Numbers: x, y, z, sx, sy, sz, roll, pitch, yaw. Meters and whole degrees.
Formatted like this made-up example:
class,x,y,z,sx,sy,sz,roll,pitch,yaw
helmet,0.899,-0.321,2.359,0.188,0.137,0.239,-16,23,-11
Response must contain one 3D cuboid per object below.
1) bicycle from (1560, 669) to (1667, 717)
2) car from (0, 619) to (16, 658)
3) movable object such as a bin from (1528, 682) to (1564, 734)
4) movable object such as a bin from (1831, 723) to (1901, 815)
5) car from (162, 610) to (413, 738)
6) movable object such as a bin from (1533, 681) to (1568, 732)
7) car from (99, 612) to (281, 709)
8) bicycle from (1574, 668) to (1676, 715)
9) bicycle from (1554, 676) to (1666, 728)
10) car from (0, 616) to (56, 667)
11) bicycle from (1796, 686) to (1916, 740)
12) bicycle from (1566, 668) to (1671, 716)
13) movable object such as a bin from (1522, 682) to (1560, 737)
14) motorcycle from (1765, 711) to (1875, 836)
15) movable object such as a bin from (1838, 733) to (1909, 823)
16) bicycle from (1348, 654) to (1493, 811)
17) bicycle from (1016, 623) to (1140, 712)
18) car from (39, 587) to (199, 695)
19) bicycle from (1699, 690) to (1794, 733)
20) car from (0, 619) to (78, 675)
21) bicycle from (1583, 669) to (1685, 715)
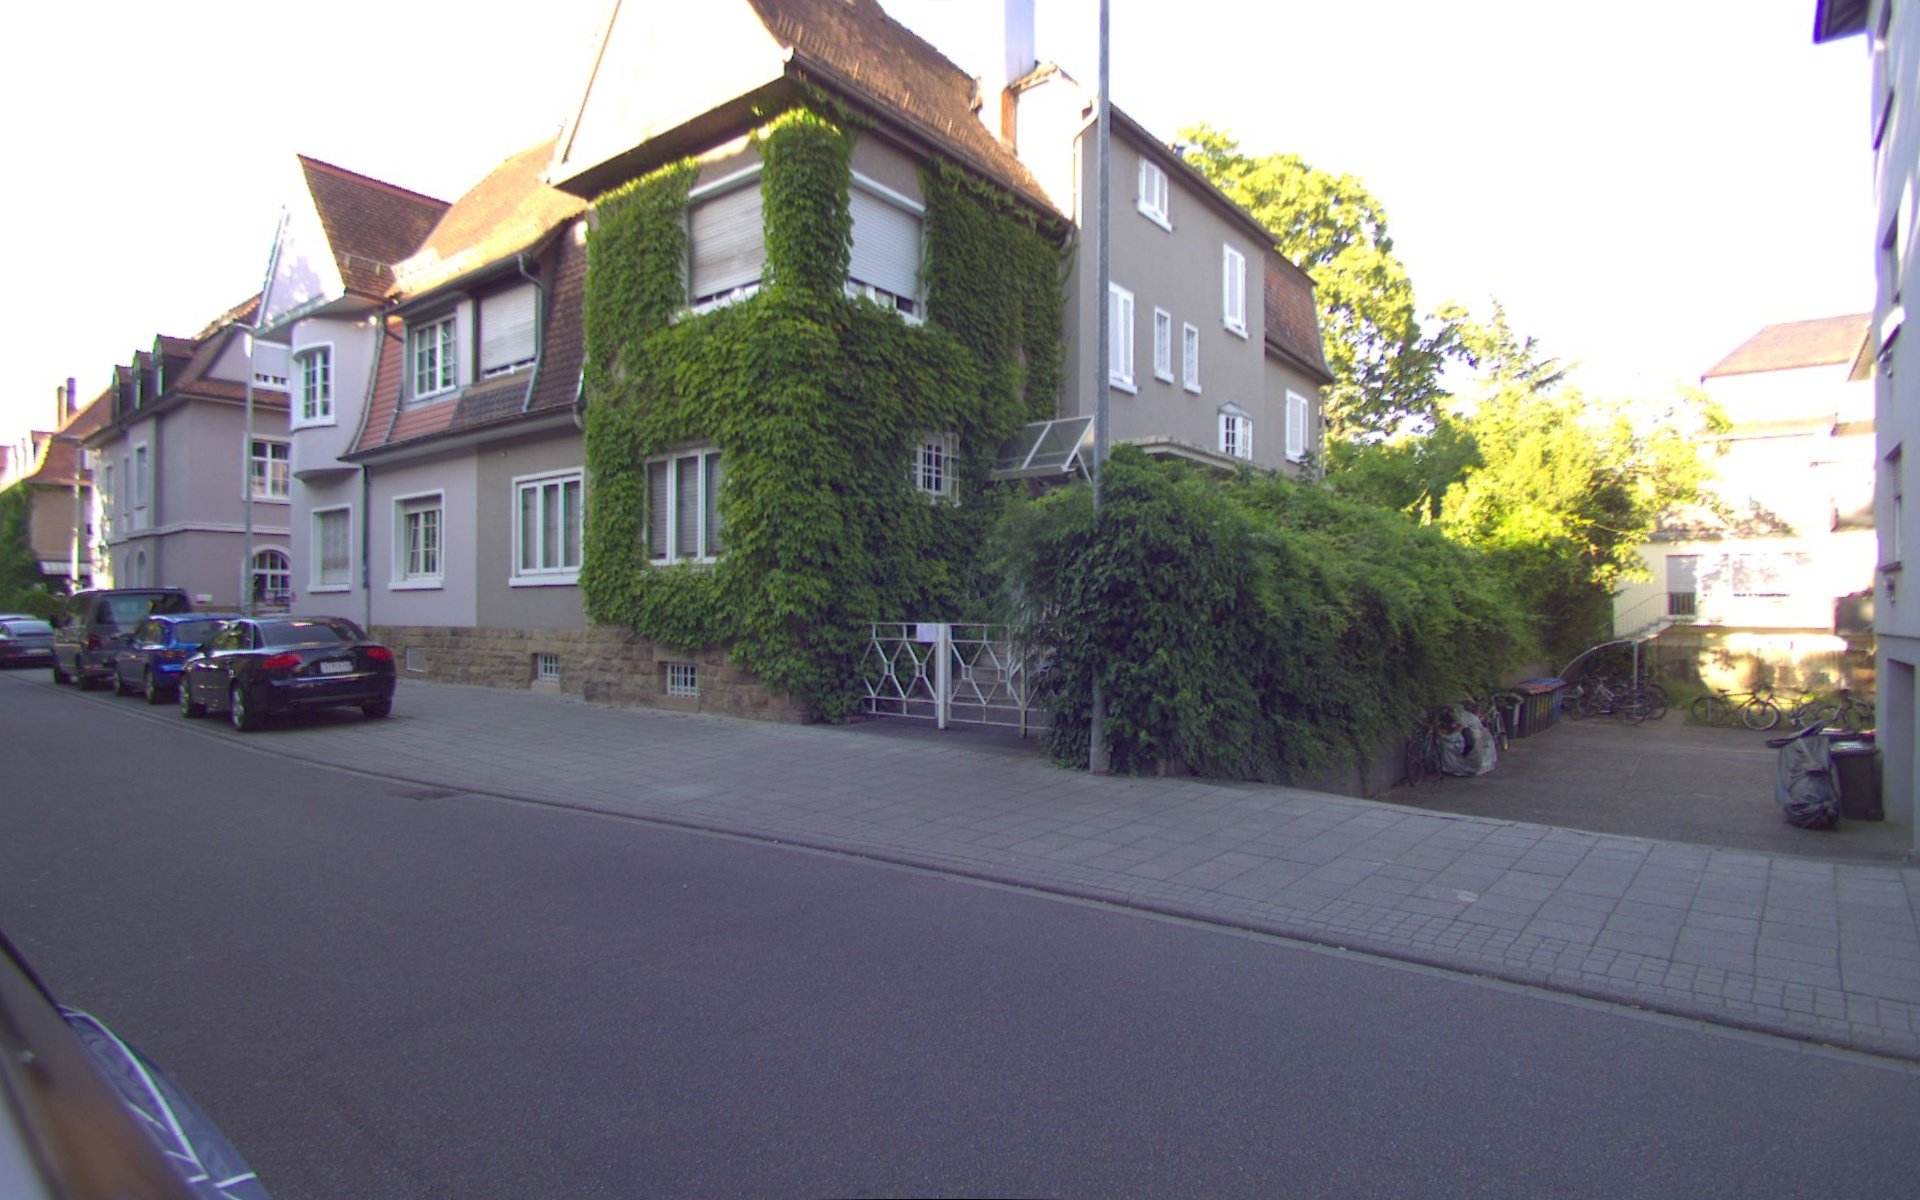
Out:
class,x,y,z,sx,sy,sz,roll,pitch,yaw
bicycle,17.491,2.475,27.128,2.338,1.142,0.685,-1,-4,42
car,-36.341,1.440,37.517,3.676,1.372,1.641,-1,1,42
movable object such as a bin,13.163,2.413,22.729,0.611,1.123,0.792,-1,-4,37
movable object such as a bin,12.284,2.273,13.740,0.611,1.123,0.792,-1,-4,37
car,-9.439,0.909,14.061,4.426,1.457,1.783,-1,1,41
movable object such as a bin,13.633,2.446,23.360,0.611,1.123,0.792,-1,-4,37
car,-13.652,0.980,17.856,4.060,1.457,1.745,-1,1,41
bicycle,18.601,2.550,28.348,2.338,1.186,0.685,-1,-4,42
bicycle,16.225,2.520,25.315,2.294,1.142,0.685,-1,-4,42
car,-30.189,1.295,32.040,4.061,1.478,1.907,-1,1,42
bicycle,20.355,2.538,23.039,2.005,1.080,0.558,-1,-4,42
bicycle,18.042,2.502,27.780,2.338,1.186,0.685,-1,-4,42
movable object such as a bin,12.687,2.377,22.086,0.611,1.123,0.792,-1,-4,37
motorcycle,10.693,2.112,12.637,0.742,1.305,1.565,-1,-2,30
movable object such as a bin,11.702,2.268,12.979,0.611,1.045,0.532,-1,-4,37
bicycle,6.809,1.781,14.765,0.971,1.907,4.138,-1,-3,38
bicycle,1.687,0.907,14.198,0.476,1.111,2.172,-1,-1,45
car,-17.540,0.786,21.026,4.610,1.990,1.819,-1,1,41
bicycle,18.878,2.663,24.314,1.754,0.886,0.558,-1,-4,42
car,-26.175,1.265,28.307,4.063,1.394,1.906,-1,1,44
bicycle,19.184,2.599,28.843,2.338,1.186,0.685,-1,-4,42
